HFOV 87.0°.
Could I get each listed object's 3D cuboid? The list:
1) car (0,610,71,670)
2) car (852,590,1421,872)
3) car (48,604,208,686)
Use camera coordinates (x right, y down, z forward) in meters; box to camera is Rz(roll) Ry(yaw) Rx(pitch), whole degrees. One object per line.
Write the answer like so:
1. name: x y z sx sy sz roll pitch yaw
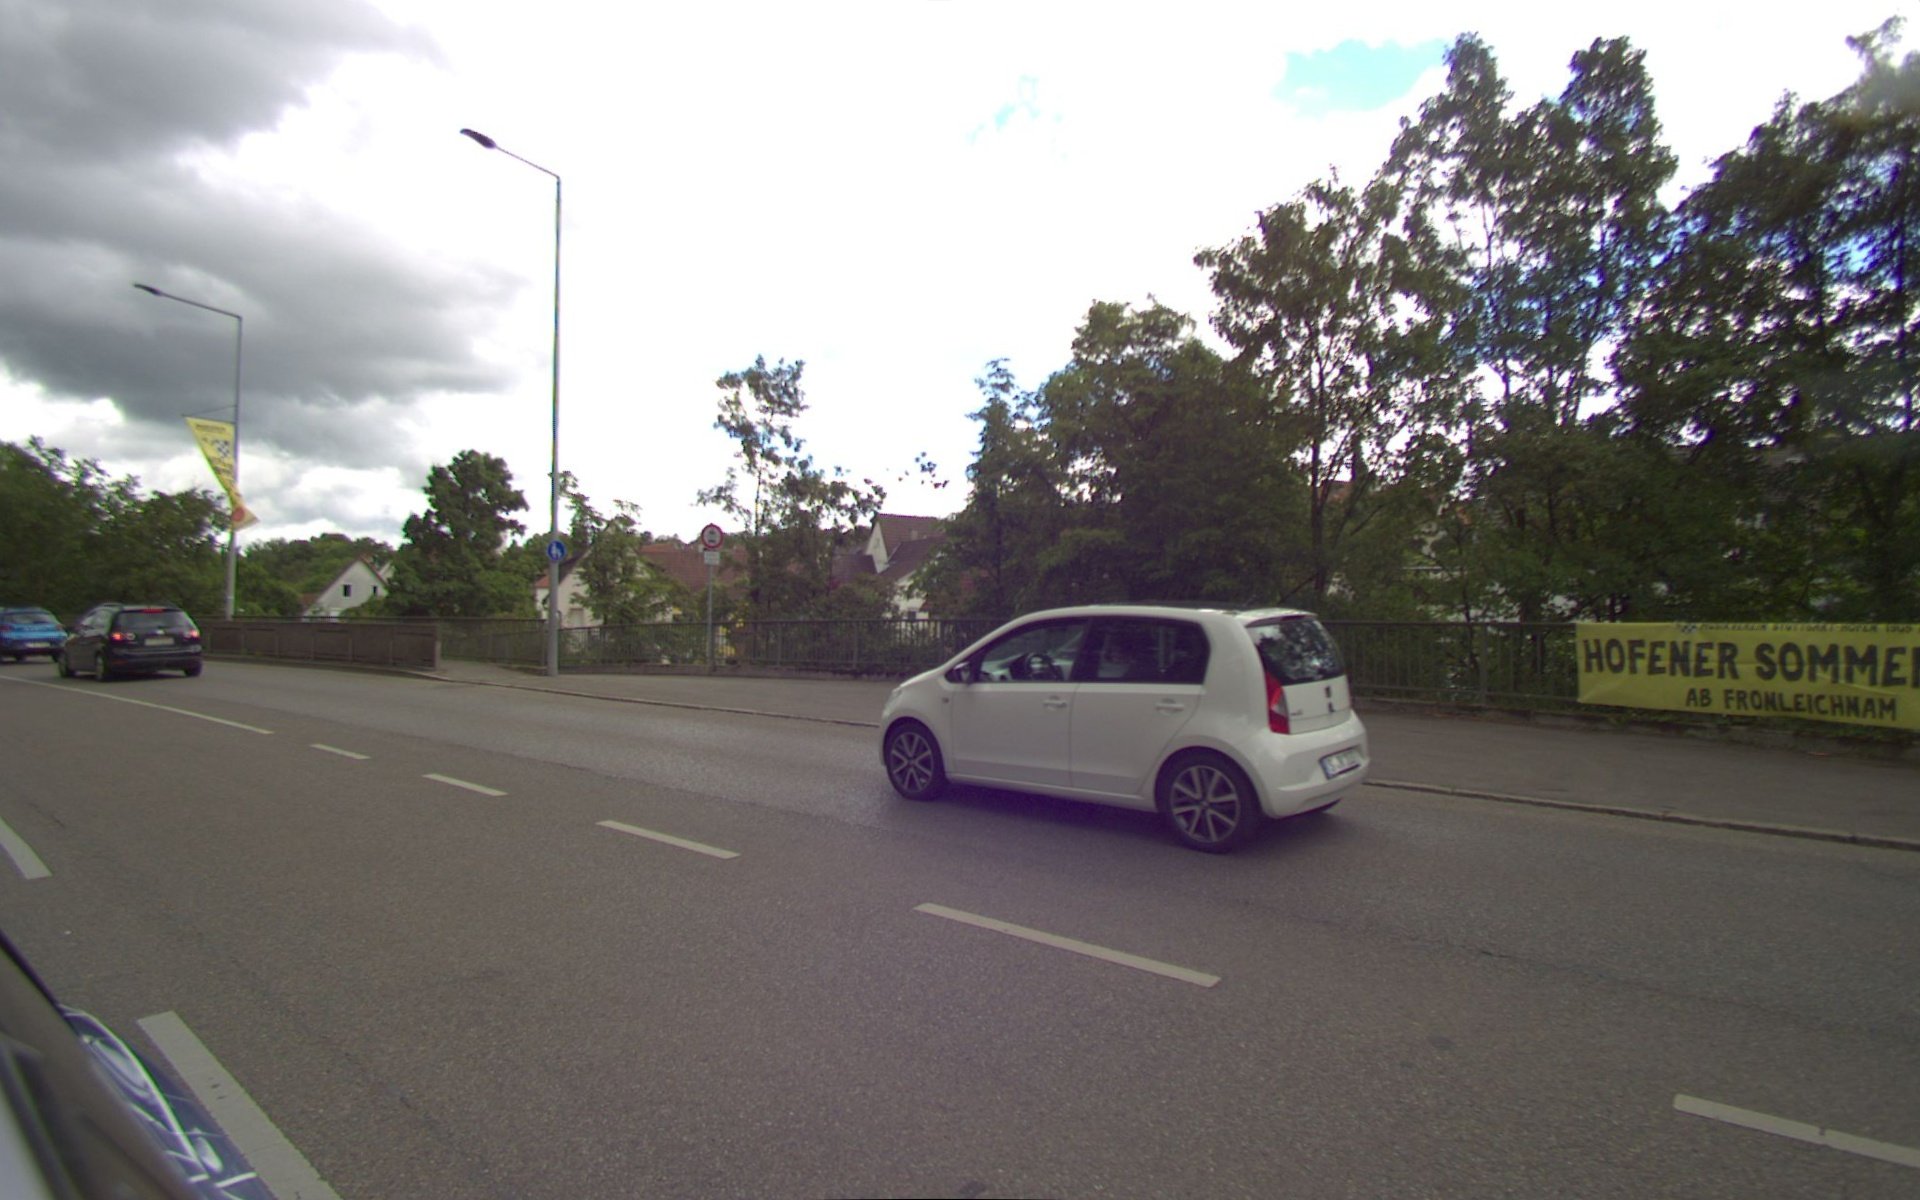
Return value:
1. car: -26.054 1.073 27.619 3.680 1.497 1.570 -1 0 30
2. car: 1.058 0.719 7.131 3.695 1.477 1.564 -1 -2 42
3. car: -18.063 0.913 21.914 4.005 1.619 1.705 -1 -1 35
